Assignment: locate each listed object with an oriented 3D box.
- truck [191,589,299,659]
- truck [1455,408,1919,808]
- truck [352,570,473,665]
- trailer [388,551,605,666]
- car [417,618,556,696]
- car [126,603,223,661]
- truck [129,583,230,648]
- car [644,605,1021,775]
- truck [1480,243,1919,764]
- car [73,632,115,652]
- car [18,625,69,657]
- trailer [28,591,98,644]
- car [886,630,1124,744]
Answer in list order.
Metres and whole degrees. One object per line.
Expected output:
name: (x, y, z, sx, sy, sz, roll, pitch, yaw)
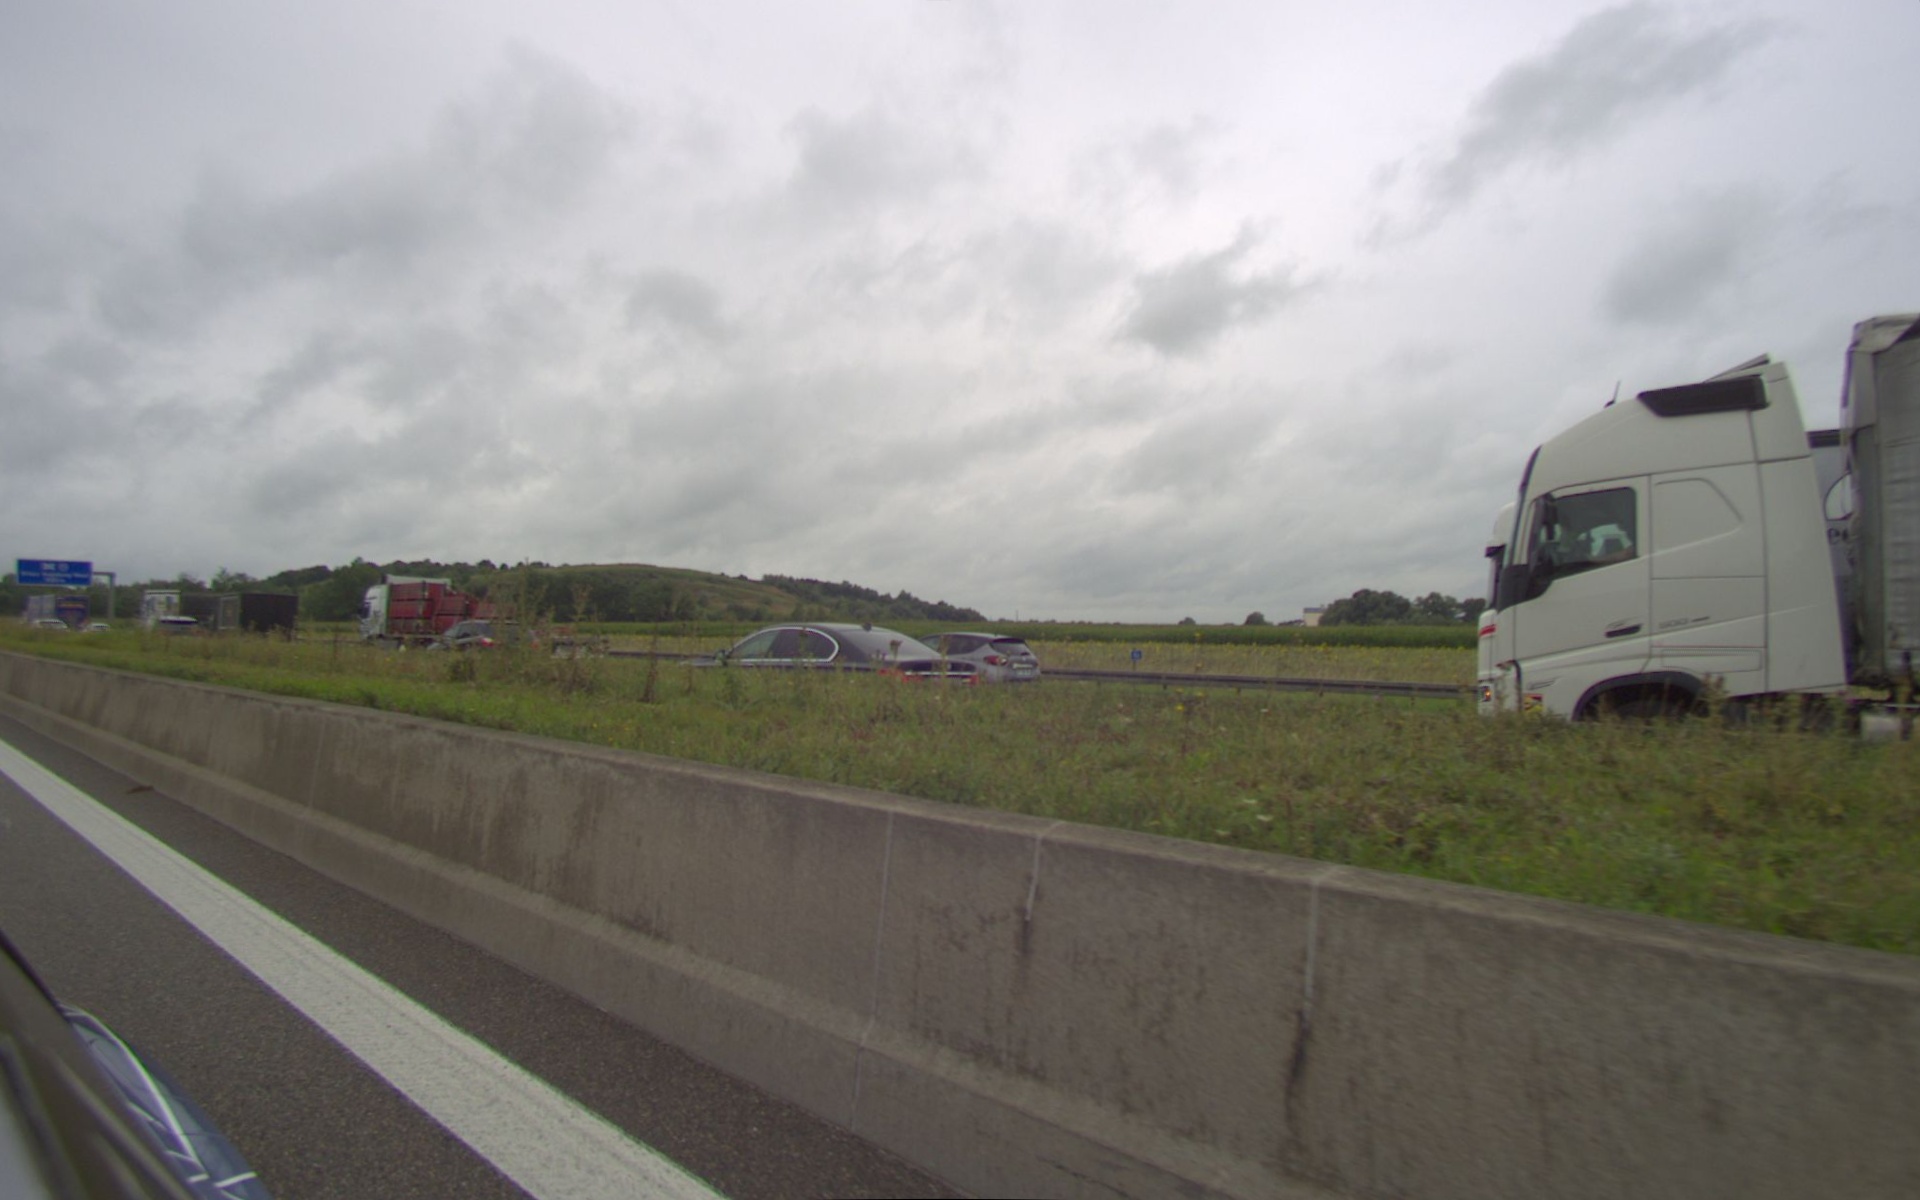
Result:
truck: (-32.099, 1.011, 45.328, 7.421, 2.930, 2.287, -1, 0, 41)
truck: (10.846, 0.079, 12.783, 7.588, 4.307, 3.578, -1, 0, 41)
truck: (-23.225, 0.771, 42.823, 5.868, 3.754, 2.613, -3, -1, 41)
trailer: (-17.684, 0.456, 37.923, 12.187, 3.754, 2.613, -3, -1, 41)
car: (-13.417, 1.534, 28.567, 4.358, 2.029, 1.973, -1, -2, 41)
car: (-29.529, 1.197, 37.978, 4.798, 2.029, 1.972, -1, -2, 41)
truck: (-58.349, 1.116, 75.511, 11.776, 4.517, 3.477, -1, 0, 40)
car: (-1.752, 0.961, 12.655, 4.799, 1.723, 2.071, -1, -2, 42)
truck: (8.450, -0.754, 8.886, 6.369, 4.005, 3.060, -1, 0, 41)
car: (-72.439, 3.495, 84.627, 5.011, 1.628, 1.863, -1, -2, 40)
car: (-53.962, 2.400, 59.579, 3.998, 1.730, 1.762, -1, 0, 41)
trailer: (-85.855, 1.692, 96.791, 11.671, 4.804, 3.353, -1, 0, 40)
car: (0.830, 1.636, 20.487, 4.619, 2.029, 1.972, -1, -2, 41)
